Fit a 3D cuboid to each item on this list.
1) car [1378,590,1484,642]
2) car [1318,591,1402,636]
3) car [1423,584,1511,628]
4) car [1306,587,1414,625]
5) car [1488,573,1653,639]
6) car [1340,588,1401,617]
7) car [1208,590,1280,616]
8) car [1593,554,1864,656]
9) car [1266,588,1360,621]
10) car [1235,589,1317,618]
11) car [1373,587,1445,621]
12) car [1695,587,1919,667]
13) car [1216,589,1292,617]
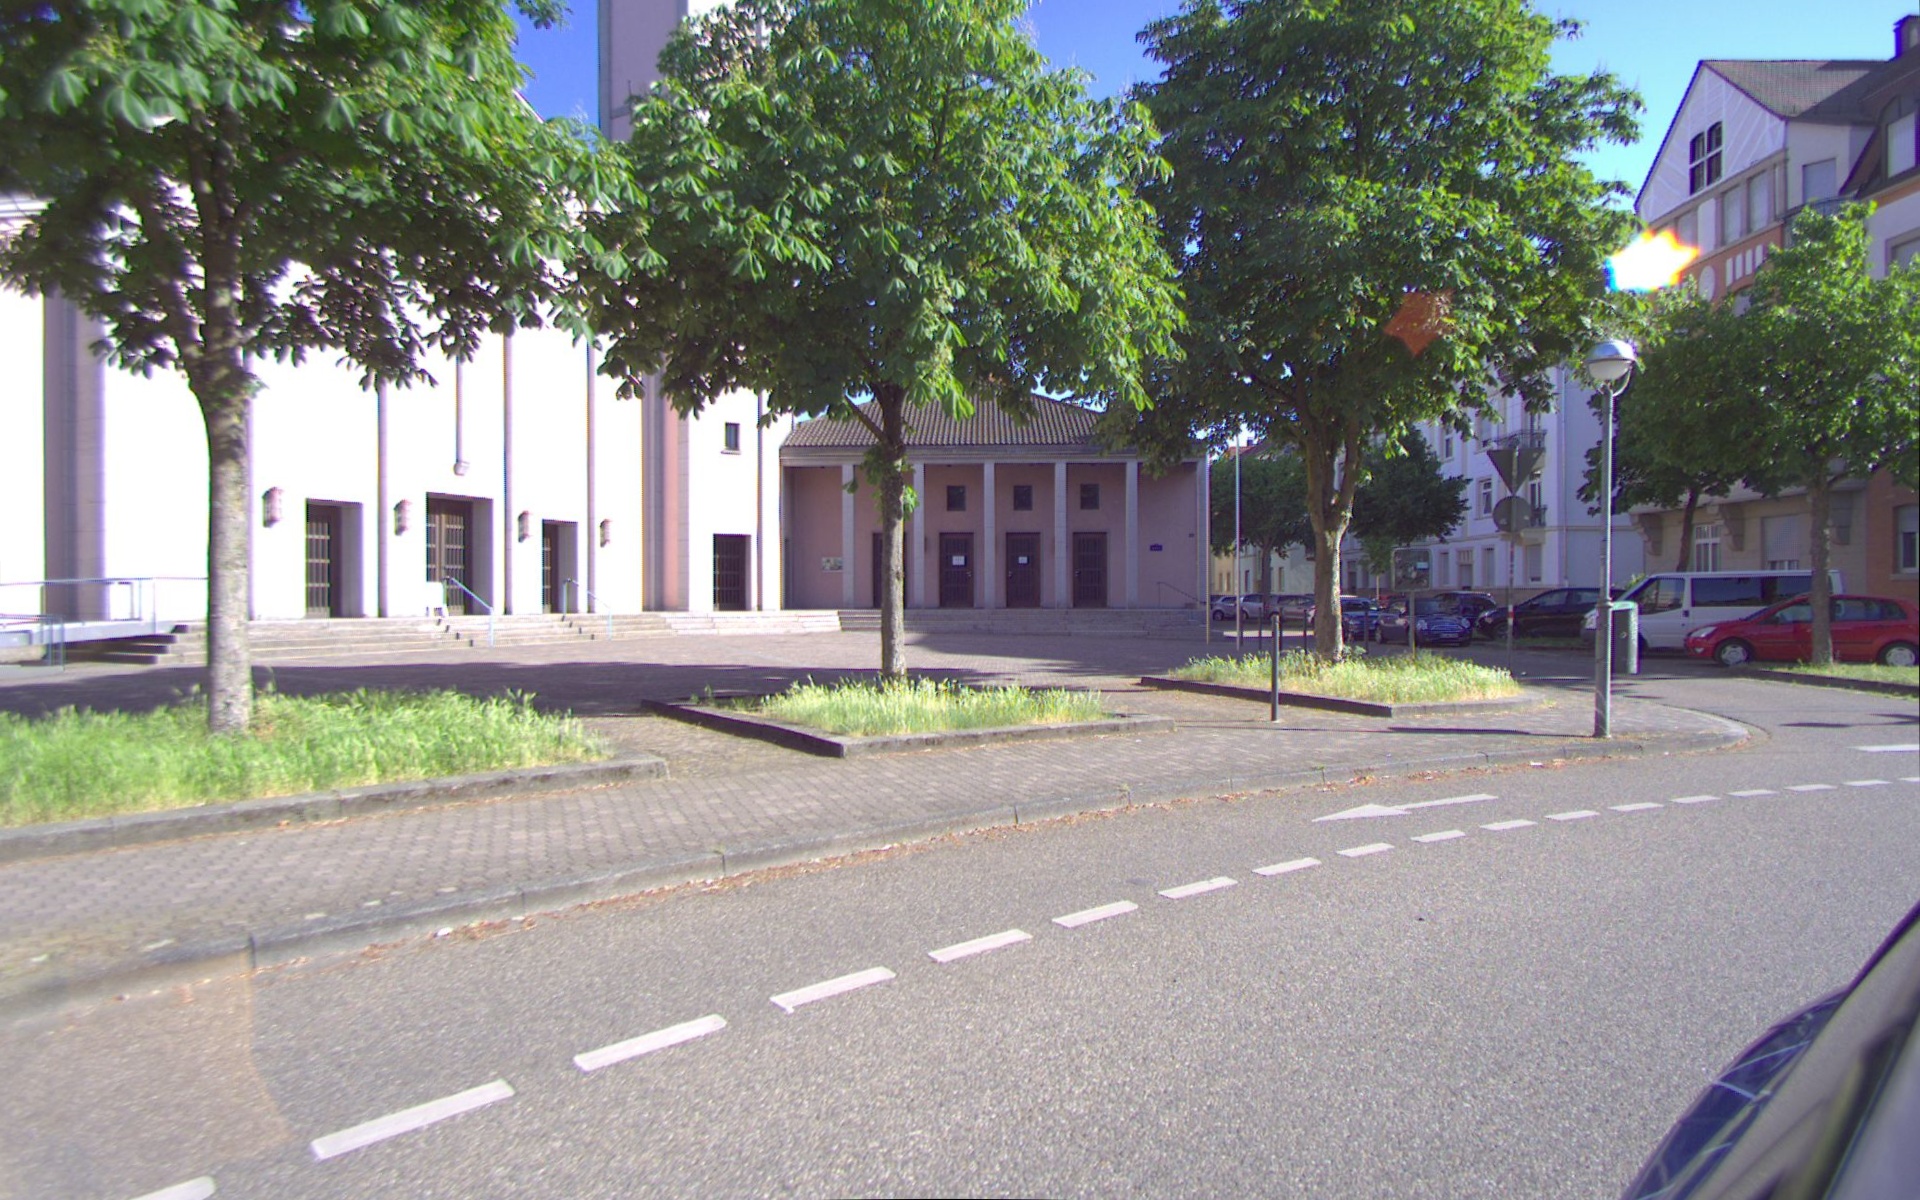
[{"bbox_3d":[13.885,0.435,30.041,1.584,1.440,3.611,0,1,3],"label":"car"},{"bbox_3d":[13.615,0.416,34.677,1.584,1.440,3.611,0,1,3],"label":"car"},{"bbox_3d":[20.392,0.195,40.867,1.729,1.678,3.952,0,1,3],"label":"car"},{"bbox_3d":[16.761,0.225,42.486,3.934,1.515,1.737,0,1,38],"label":"car"},{"bbox_3d":[17.329,0.130,28.837,3.927,1.760,1.740,0,1,34],"label":"car"},{"bbox_3d":[21.272,0.105,52.600,1.729,1.474,3.952,0,1,3],"label":"car"},{"bbox_3d":[17.317,0.147,61.715,3.920,1.515,1.743,0,1,29],"label":"car"},{"bbox_3d":[17.036,0.067,22.740,4.677,2.071,1.968,0,1,37],"label":"car"},{"bbox_3d":[16.985,0.193,48.769,3.934,1.515,1.737,0,1,38],"label":"car"},{"bbox_3d":[17.038,0.158,54.639,3.934,1.515,1.737,0,1,38],"label":"car"},{"bbox_3d":[20.639,0.158,46.700,1.729,1.474,3.952,0,1,3],"label":"car"},{"bbox_3d":[16.712,0.472,19.811,3.670,1.453,1.649,0,1,34],"label":"car"},{"bbox_3d":[16.946,0.153,58.404,3.934,1.515,1.737,0,1,38],"label":"car"}]
